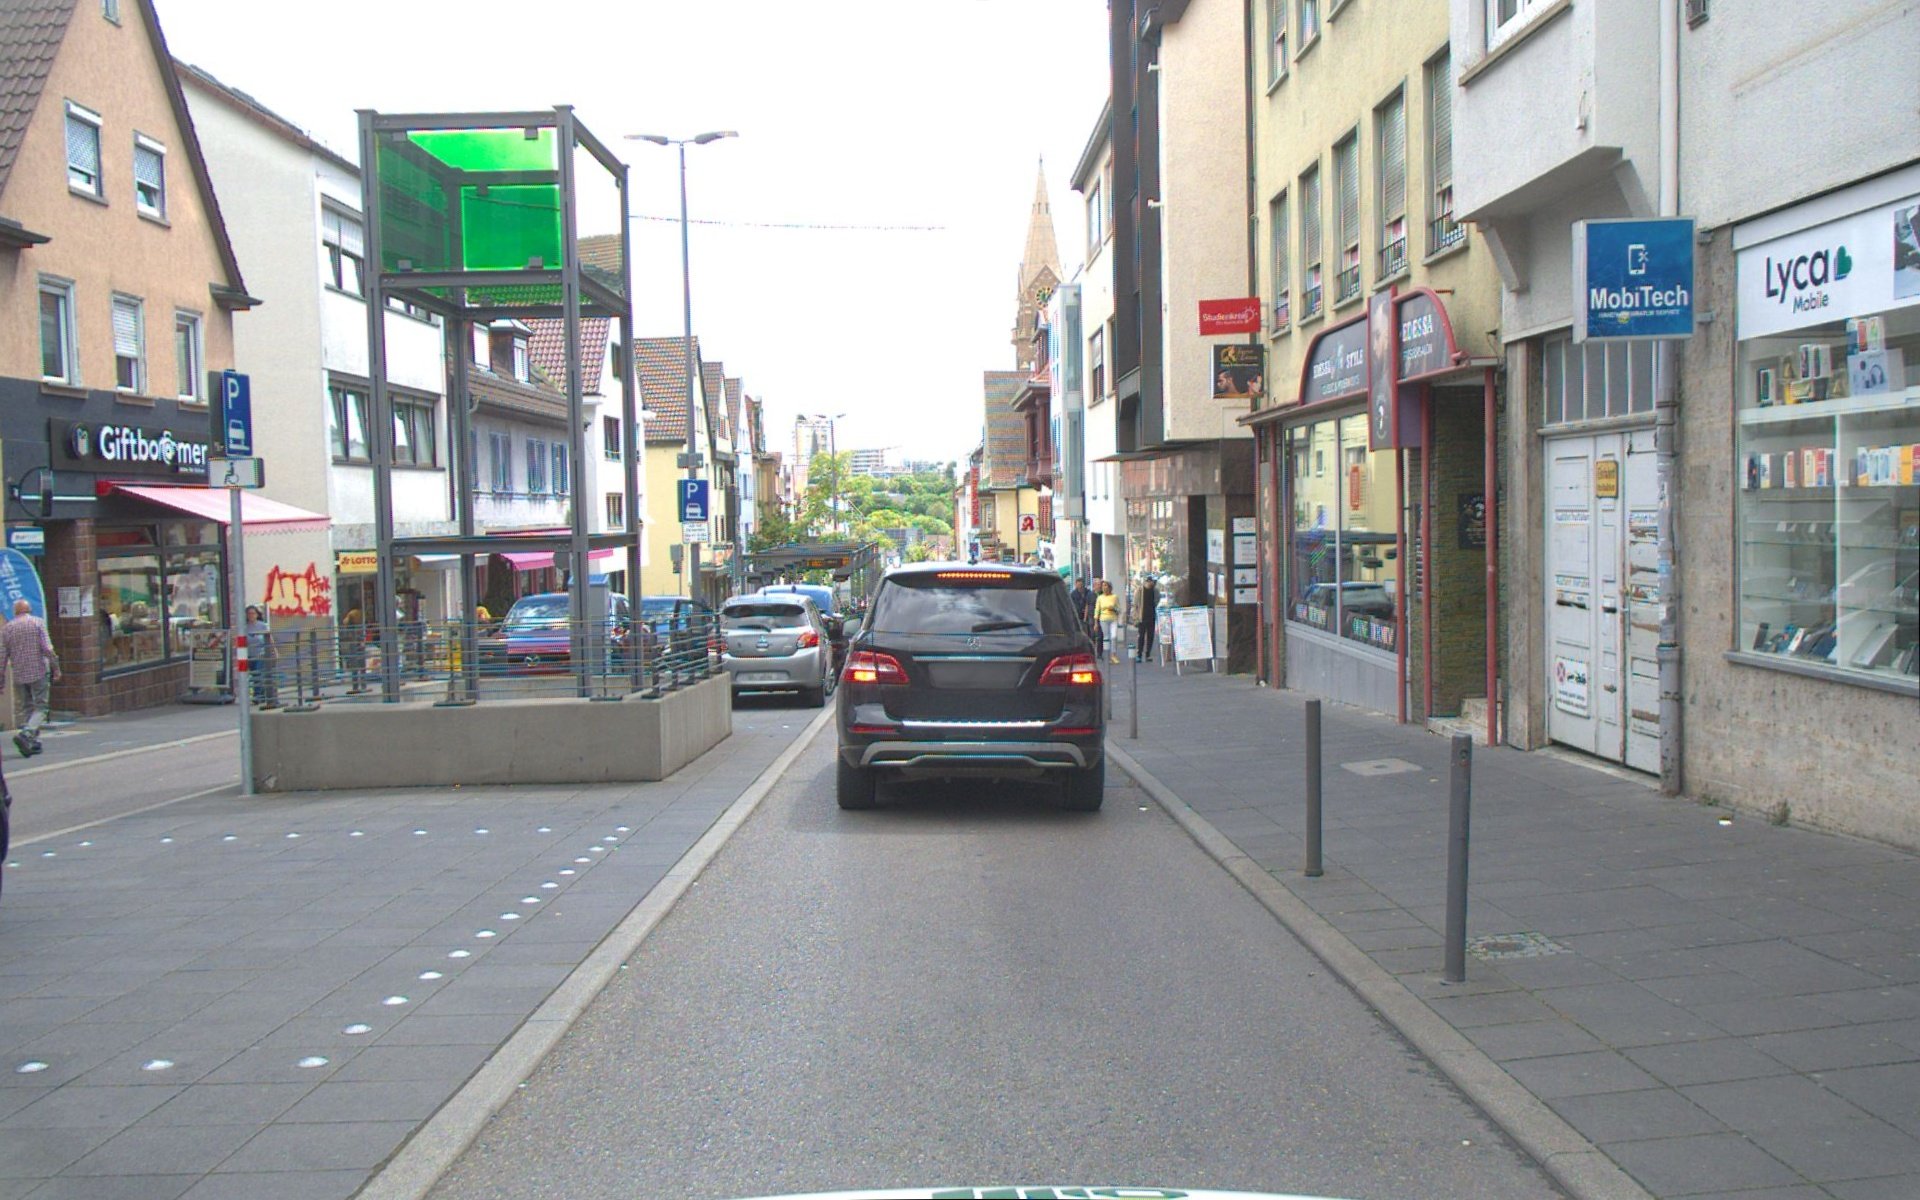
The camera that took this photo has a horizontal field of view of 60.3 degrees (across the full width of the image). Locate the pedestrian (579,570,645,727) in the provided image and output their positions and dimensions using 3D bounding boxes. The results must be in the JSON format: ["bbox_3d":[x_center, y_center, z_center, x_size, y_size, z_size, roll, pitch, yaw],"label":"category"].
[{"bbox_3d":[-3.869,0.524,18.438,0.522,1.701,0.901,0,1,1],"label":"pedestrian"}]

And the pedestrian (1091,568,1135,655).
[{"bbox_3d":[2.991,0.217,32.461,0.697,1.659,0.835,-3,0,-1],"label":"pedestrian"}]

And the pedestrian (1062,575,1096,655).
[{"bbox_3d":[2.693,0.336,37.448,0.696,1.784,0.787,-1,1,-1],"label":"pedestrian"}]

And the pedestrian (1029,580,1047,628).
[{"bbox_3d":[2.835,0.135,60.278,0.562,1.718,0.565,1,0,-8],"label":"pedestrian"}]

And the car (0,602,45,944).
[{"bbox_3d":[-4.883,0.771,5.683,1.537,1.501,3.853,0,0,-4],"label":"car"}]

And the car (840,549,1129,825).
[{"bbox_3d":[0.065,0.570,12.763,1.862,1.777,3.998,1,0,-3],"label":"car"}]

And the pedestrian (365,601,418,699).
[{"bbox_3d":[-10.153,0.886,29.532,0.634,1.718,0.663,0,0,39],"label":"pedestrian"}]

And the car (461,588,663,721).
[{"bbox_3d":[-5.103,0.646,21.732,1.704,1.570,4.192,1,0,-1],"label":"car"}]

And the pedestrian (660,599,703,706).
[{"bbox_3d":[-3.865,0.722,22.987,0.457,1.456,0.492,-3,0,-1],"label":"pedestrian"}]

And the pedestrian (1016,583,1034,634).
[{"bbox_3d":[2.281,0.293,58.084,0.532,1.756,0.527,-1,0,-8],"label":"pedestrian"}]

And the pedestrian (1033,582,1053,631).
[{"bbox_3d":[2.998,0.223,59.504,0.562,1.718,0.565,-2,0,-8],"label":"pedestrian"}]

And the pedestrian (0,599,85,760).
[{"bbox_3d":[-10.135,0.849,18.120,0.626,1.718,0.828,0,0,3],"label":"pedestrian"}]

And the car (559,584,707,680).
[{"bbox_3d":[-5.620,0.505,28.836,1.703,1.501,3.885,1,1,1],"label":"car"}]

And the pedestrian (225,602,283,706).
[{"bbox_3d":[-11.291,0.851,26.478,0.553,1.601,0.716,-3,0,-1],"label":"pedestrian"}]

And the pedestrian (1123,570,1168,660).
[{"bbox_3d":[3.661,0.288,32.630,0.650,1.718,0.542,-4,0,-8],"label":"pedestrian"}]

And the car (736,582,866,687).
[{"bbox_3d":[-2.673,0.556,28.780,1.917,1.668,4.313,1,0,-1],"label":"car"}]

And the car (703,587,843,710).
[{"bbox_3d":[-2.532,0.623,23.063,1.587,1.559,3.669,1,0,-1],"label":"car"}]

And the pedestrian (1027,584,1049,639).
[{"bbox_3d":[2.467,0.370,52.256,0.609,1.718,0.565,1,0,-8],"label":"pedestrian"}]

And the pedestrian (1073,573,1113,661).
[{"bbox_3d":[2.775,0.354,34.561,0.697,1.784,0.785,-3,0,-1],"label":"pedestrian"}]
